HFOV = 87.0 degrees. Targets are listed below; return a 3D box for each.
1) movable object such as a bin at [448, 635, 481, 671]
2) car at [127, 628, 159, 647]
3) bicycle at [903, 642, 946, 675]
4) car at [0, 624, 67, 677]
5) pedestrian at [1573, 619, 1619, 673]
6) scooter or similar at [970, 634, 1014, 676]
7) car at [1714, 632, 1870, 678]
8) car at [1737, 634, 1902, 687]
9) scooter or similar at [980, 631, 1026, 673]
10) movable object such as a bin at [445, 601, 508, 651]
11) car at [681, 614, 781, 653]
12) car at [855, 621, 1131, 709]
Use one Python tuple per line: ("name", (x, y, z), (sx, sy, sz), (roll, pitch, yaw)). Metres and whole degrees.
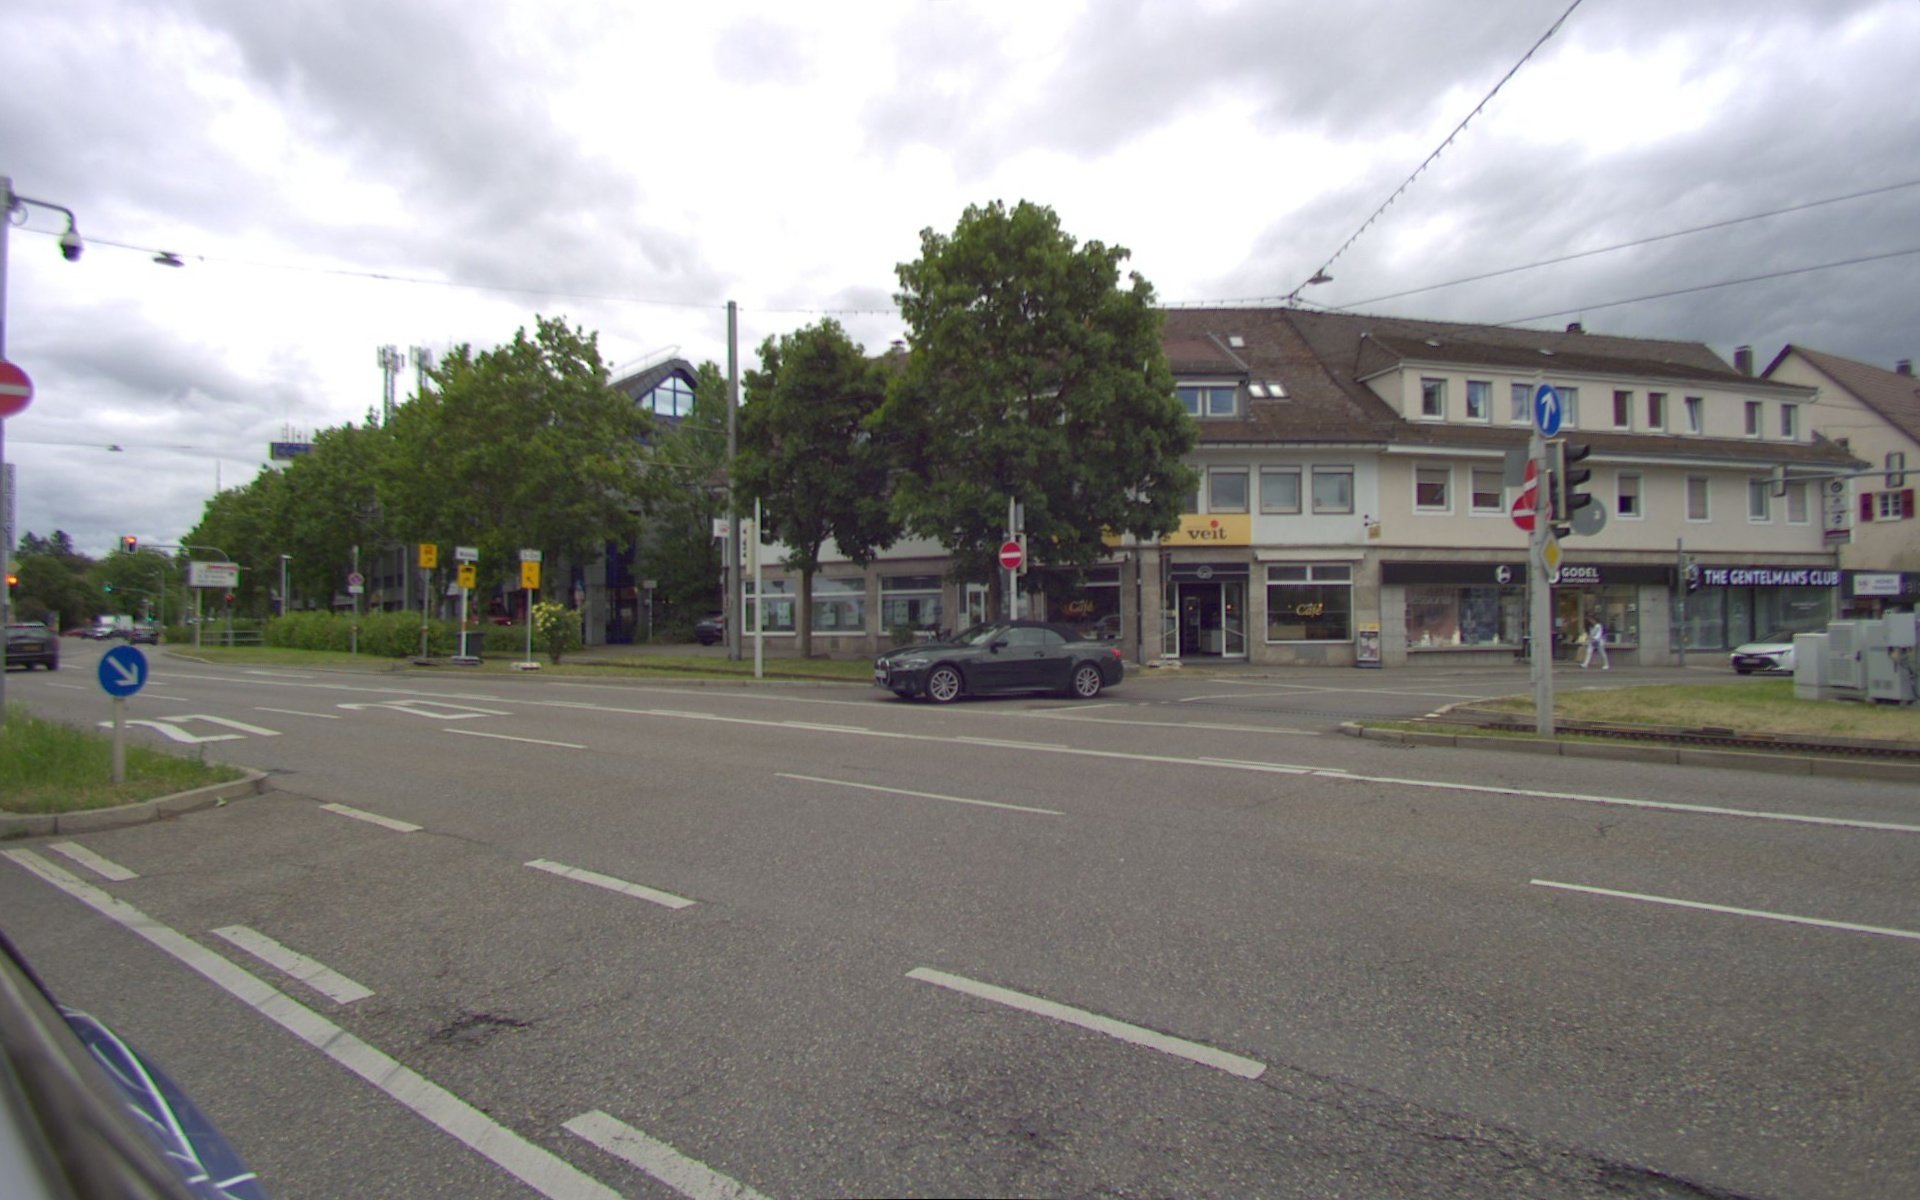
("movable object such as a bin", (-14.711, 1.565, 30.035), (0.837, 1.020, 0.558), (-2, -1, 37))
("car", (-70.423, 3.239, 87.214), (1.762, 1.549, 4.400), (-1, -1, -43))
("bicycle", (-0.933, 1.533, 26.573), (0.424, 0.811, 1.246), (-1, -2, 39))
("car", (-28.411, 1.523, 30.207), (4.387, 1.436, 1.767), (-3, -1, 37))
("pedestrian", (20.121, 1.442, 32.025), (0.844, 1.683, 0.878), (0, -1, -14))
("scooter or similar", (0.828, 1.401, 26.170), (0.483, 1.053, 1.178), (1, -2, -40))
("car", (25.273, 1.636, 30.767), (3.843, 1.305, 1.993), (0, -1, -21))
("car", (23.624, 1.628, 27.830), (3.843, 1.305, 1.993), (0, -1, -25))
("scooter or similar", (1.173, 1.402, 27.606), (0.594, 1.094, 1.177), (1, -2, -44))
("movable object such as a bin", (-26.031, 1.374, 54.449), (1.883, 2.551, 4.130), (0, -1, -43))
("car", (-9.613, 1.382, 42.664), (1.853, 1.436, 3.959), (-3, -1, 32))
("car", (0.618, 1.084, 18.021), (4.602, 1.391, 1.832), (0, -1, -27))
